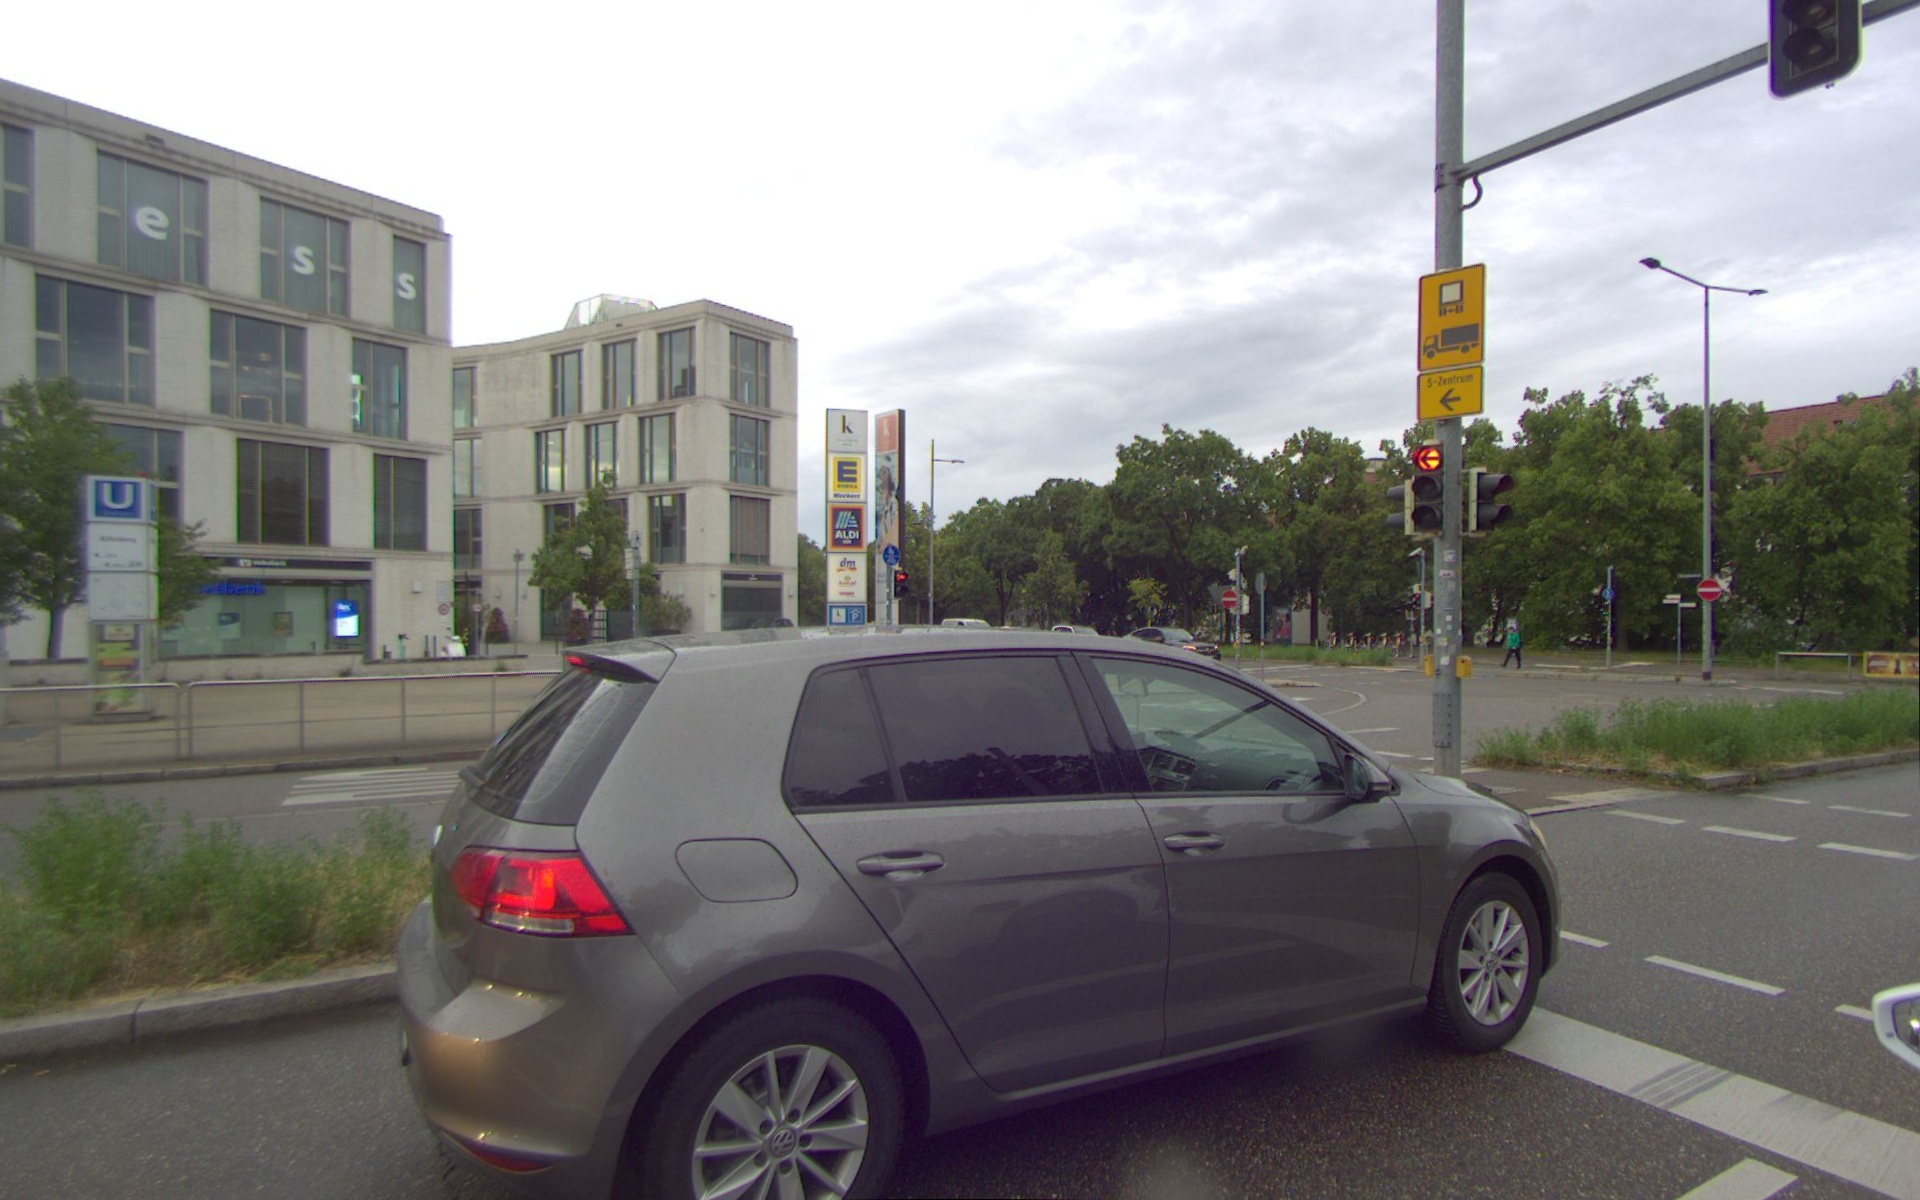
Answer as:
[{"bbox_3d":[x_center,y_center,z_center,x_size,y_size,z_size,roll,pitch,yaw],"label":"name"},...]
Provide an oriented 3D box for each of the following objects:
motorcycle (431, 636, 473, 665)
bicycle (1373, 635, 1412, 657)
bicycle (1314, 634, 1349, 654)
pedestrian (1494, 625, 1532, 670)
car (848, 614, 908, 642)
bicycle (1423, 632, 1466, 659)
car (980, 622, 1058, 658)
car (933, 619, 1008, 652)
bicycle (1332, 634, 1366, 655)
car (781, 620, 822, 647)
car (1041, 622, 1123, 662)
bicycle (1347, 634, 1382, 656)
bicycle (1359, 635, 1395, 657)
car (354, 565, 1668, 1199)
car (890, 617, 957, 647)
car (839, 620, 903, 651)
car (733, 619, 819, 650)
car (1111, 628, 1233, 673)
[{"bbox_3d":[-14.099,1.403,27.880,1.081,0.750,0.522,2,0,29],"label":"motorcycle"},{"bbox_3d":[22.240,2.357,51.646,1.959,1.085,0.798,2,0,-30],"label":"bicycle"},{"bbox_3d":[20.265,2.399,54.761,1.959,1.085,0.649,2,0,-30],"label":"bicycle"},{"bbox_3d":[22.153,1.889,40.222,0.932,1.750,0.921,2,0,-22],"label":"pedestrian"},{"bbox_3d":[-5.461,1.814,66.110,1.977,1.615,4.852,2,0,-31],"label":"car"},{"bbox_3d":[23.757,2.252,49.258,1.959,1.266,0.986,2,0,-30],"label":"bicycle"},{"bbox_3d":[2.958,1.993,50.875,1.976,1.615,4.185,2,0,-29],"label":"car"},{"bbox_3d":[0.529,1.943,55.402,1.976,1.615,4.855,2,0,-29],"label":"car"},{"bbox_3d":[20.936,2.385,54.031,1.959,1.085,0.649,2,0,-30],"label":"bicycle"},{"bbox_3d":[-12.723,2.663,80.633,1.976,2.040,3.969,1,-1,-29],"label":"car"},{"bbox_3d":[5.554,1.907,46.024,1.976,1.615,3.536,2,0,-30],"label":"car"},{"bbox_3d":[21.369,2.374,53.030,1.959,1.085,0.649,2,0,-30],"label":"bicycle"},{"bbox_3d":[21.670,2.391,52.170,1.959,1.085,0.649,2,0,-30],"label":"bicycle"},{"bbox_3d":[0.418,0.754,3.555,4.325,1.501,1.807,2,-1,-30],"label":"car"},{"bbox_3d":[-2.259,1.884,60.390,1.976,1.615,4.855,2,0,-29],"label":"car"},{"bbox_3d":[-5.331,2.110,59.695,1.976,1.615,4.855,2,0,-29],"label":"car"},{"bbox_3d":[-9.189,1.716,50.315,1.968,1.483,3.985,0,-2,37],"label":"car"},{"bbox_3d":[8.392,1.963,40.237,1.976,1.520,5.001,2,0,-29],"label":"car"}]
